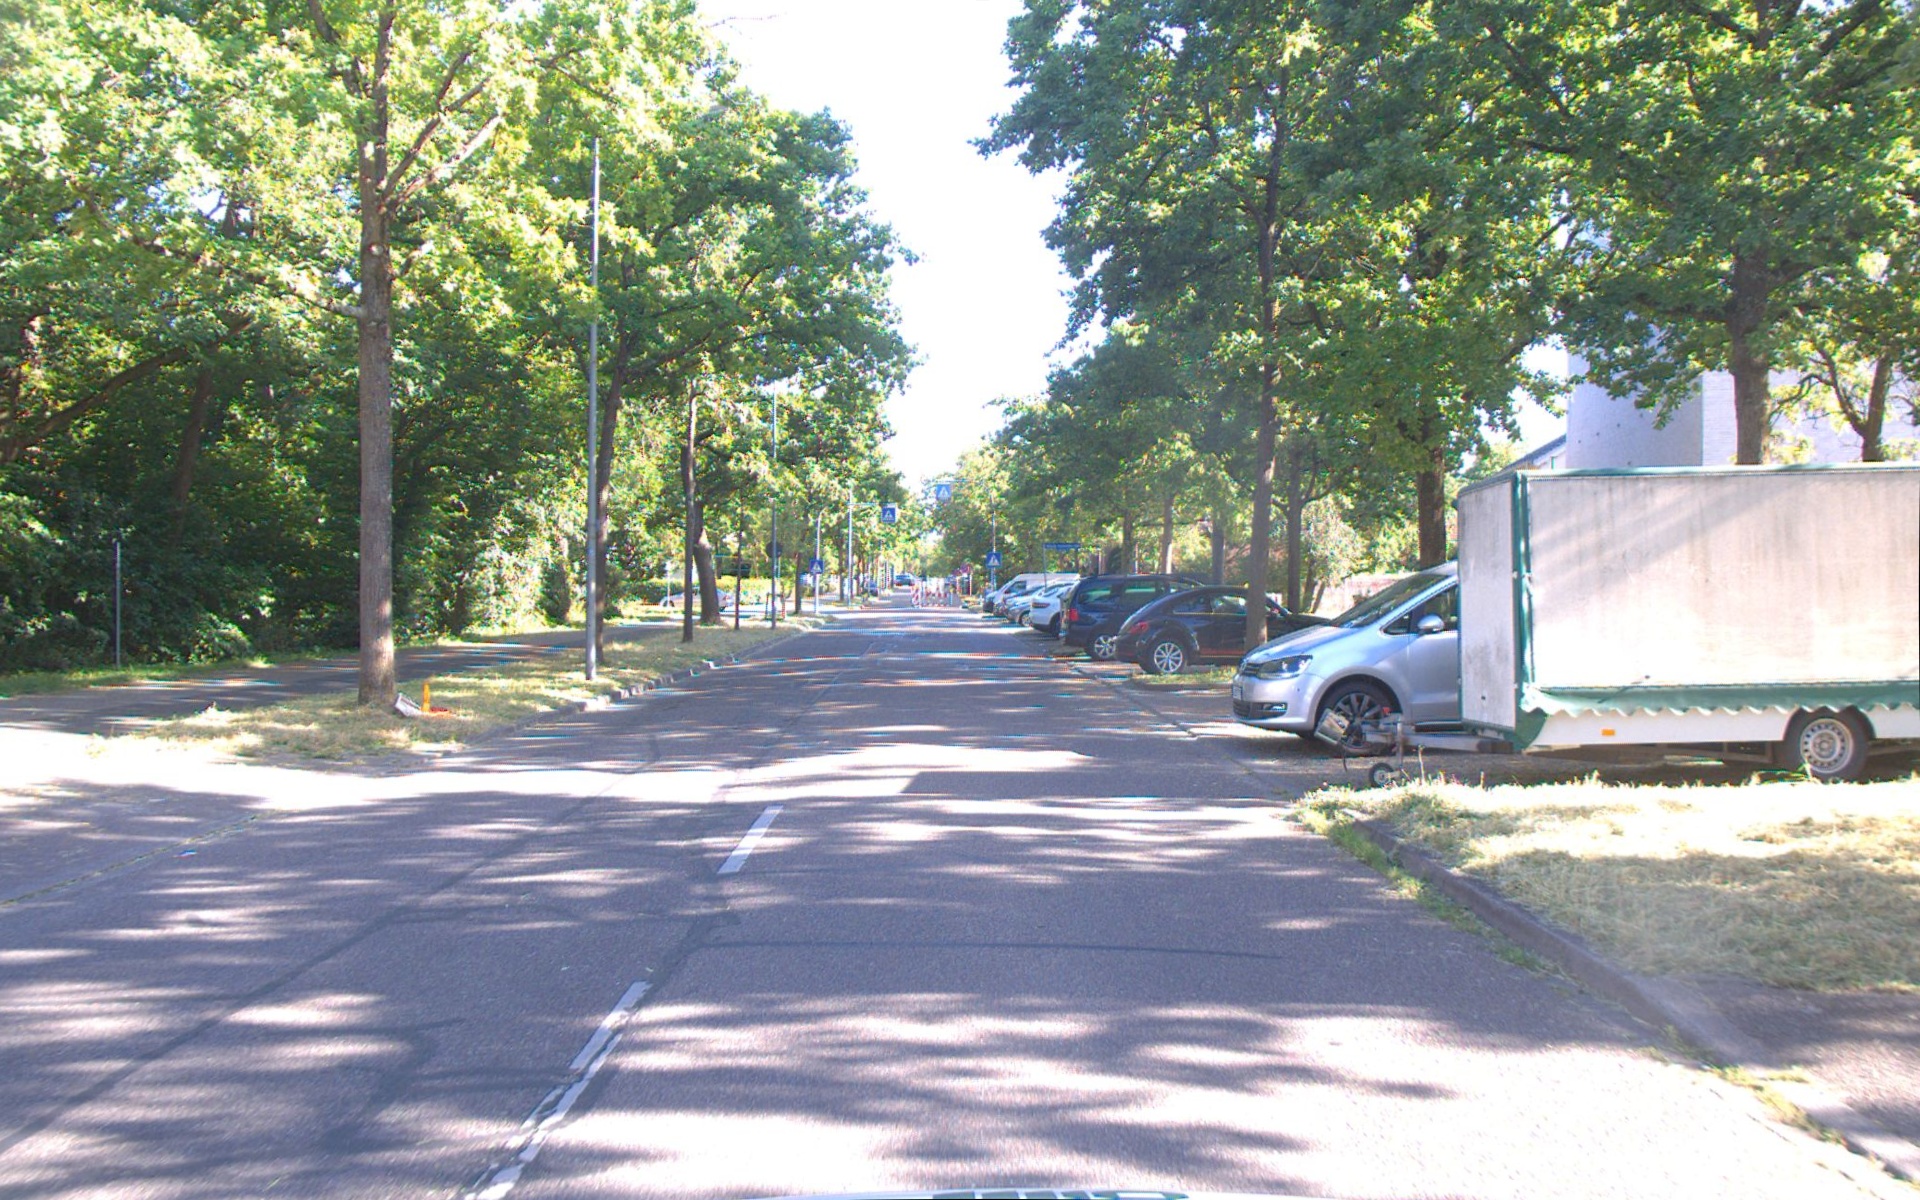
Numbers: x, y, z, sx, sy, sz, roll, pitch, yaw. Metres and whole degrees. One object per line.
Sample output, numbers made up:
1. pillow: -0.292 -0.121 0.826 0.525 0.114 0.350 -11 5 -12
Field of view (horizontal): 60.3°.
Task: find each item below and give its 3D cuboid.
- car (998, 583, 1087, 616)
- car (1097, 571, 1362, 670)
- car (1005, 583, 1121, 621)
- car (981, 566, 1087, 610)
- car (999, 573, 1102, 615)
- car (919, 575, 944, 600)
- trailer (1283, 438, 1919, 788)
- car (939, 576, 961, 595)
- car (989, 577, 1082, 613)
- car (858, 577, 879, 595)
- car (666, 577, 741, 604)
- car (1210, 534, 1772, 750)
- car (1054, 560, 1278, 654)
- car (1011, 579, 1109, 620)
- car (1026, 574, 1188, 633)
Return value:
1. car: 3.676 -0.021 74.301 3.905 1.458 1.901 0 1 0
2. car: 4.508 0.332 28.186 4.158 1.545 2.078 -1 0 0
3. car: 3.983 0.073 64.313 4.355 1.414 1.911 -1 1 -1
4. car: 3.658 -0.580 82.223 5.083 2.142 2.081 0 0 -3
5. car: 3.919 -0.273 71.916 4.297 1.680 1.850 -2 1 -3
6. car: -2.386 -1.048 137.869 1.953 1.966 3.999 1 1 -2
7. trailer: 5.469 0.062 12.571 5.655 2.358 1.686 -2 0 1
8. car: -0.976 -1.400 158.892 1.953 1.746 3.999 1 1 -2
9. car: 3.492 -0.236 77.055 4.128 1.596 1.933 1 1 -3
10. car: -9.101 -1.372 164.829 1.953 1.746 3.999 1 1 -2
11. car: -15.073 -0.555 97.368 3.902 1.510 2.002 0 0 12
12. car: 4.756 0.353 15.331 4.547 1.752 1.987 -2 0 0
13. car: 4.280 0.129 34.832 4.438 1.832 1.936 -1 0 -1
14. car: 4.036 -0.025 67.234 3.806 1.523 1.777 -2 1 -2
15. car: 4.317 0.087 49.072 4.575 1.608 1.916 -1 1 -1
